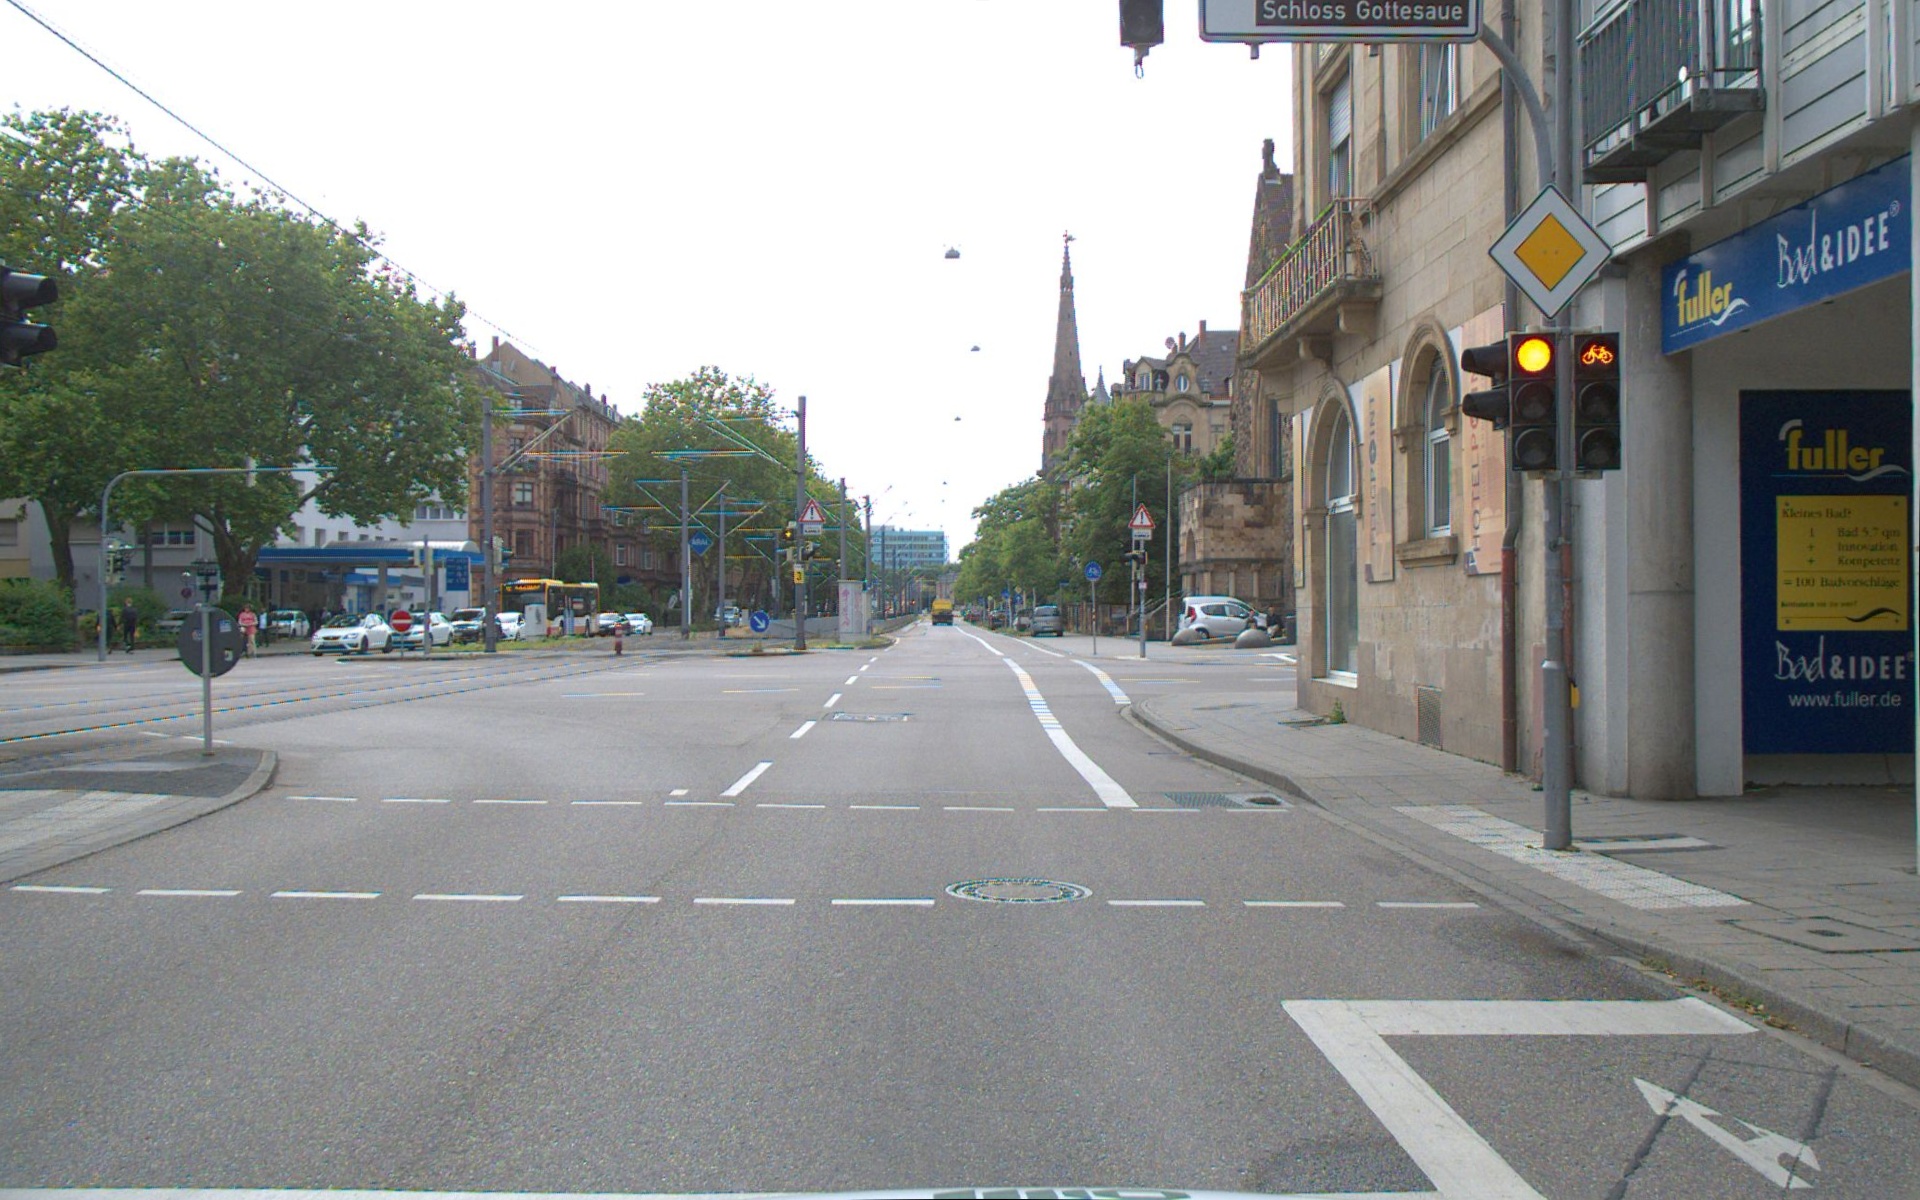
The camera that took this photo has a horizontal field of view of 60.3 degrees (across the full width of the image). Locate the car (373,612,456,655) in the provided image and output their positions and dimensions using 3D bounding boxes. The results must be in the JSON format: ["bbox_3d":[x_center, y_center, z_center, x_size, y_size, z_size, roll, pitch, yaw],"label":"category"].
[{"bbox_3d":[-21.424,1.296,65.131,1.953,1.622,3.999,1,0,-1],"label":"car"}]

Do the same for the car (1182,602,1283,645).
[{"bbox_3d":[10.673,0.926,65.035,3.638,1.591,2.000,1,0,-1],"label":"car"}]

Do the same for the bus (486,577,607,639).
[{"bbox_3d":[-21.969,0.427,88.757,3.164,3.088,12.312,1,0,1],"label":"bus"}]

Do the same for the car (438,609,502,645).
[{"bbox_3d":[-21.225,1.148,71.784,1.622,1.504,3.638,1,0,1],"label":"car"}]

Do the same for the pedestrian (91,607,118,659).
[{"bbox_3d":[-28.653,1.098,55.407,0.678,1.743,0.865,0,0,-20],"label":"pedestrian"}]

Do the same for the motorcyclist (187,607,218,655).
[{"bbox_3d":[-24.678,1.002,53.910,0.607,1.546,0.873,0,0,-1],"label":"motorcyclist"}]

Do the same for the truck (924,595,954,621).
[{"bbox_3d":[-2.298,0.887,184.769,2.992,2.817,9.816,0,0,1],"label":"truck"}]

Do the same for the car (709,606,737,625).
[{"bbox_3d":[-21.343,1.392,148.994,1.953,1.639,3.999,1,0,-1],"label":"car"}]

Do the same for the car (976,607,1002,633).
[{"bbox_3d":[2.374,1.632,136.005,1.953,2.049,3.999,1,0,-1],"label":"car"}]

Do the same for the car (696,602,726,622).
[{"bbox_3d":[-21.226,1.034,141.185,1.953,1.639,3.999,1,0,-1],"label":"car"}]

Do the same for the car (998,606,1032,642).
[{"bbox_3d":[3.284,1.423,99.555,1.952,2.049,4.000,1,0,1],"label":"car"}]

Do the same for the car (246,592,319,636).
[{"bbox_3d":[-32.893,0.664,80.418,1.953,2.049,3.999,0,0,-1],"label":"car"}]

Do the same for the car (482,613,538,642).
[{"bbox_3d":[-21.381,1.293,78.703,1.622,1.344,3.638,1,0,1],"label":"car"}]

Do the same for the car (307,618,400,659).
[{"bbox_3d":[-21.437,1.339,58.597,1.711,1.344,4.075,1,0,1],"label":"car"}]

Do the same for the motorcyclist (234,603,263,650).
[{"bbox_3d":[-23.660,0.866,55.010,0.607,1.546,0.873,0,0,-1],"label":"motorcyclist"}]

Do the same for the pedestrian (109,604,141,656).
[{"bbox_3d":[-28.148,1.002,55.768,0.860,1.743,0.869,0,0,-20],"label":"pedestrian"}]

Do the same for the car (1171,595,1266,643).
[{"bbox_3d":[10.690,0.795,68.561,3.638,1.888,2.000,1,0,-1],"label":"car"}]

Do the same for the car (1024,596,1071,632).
[{"bbox_3d":[4.813,0.773,90.051,1.951,1.888,4.030,1,0,12],"label":"car"}]

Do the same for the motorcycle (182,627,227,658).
[{"bbox_3d":[-24.680,1.378,54.080,0.594,0.945,1.951,0,0,0],"label":"motorcycle"}]

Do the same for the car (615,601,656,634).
[{"bbox_3d":[-21.413,1.143,109.262,1.953,2.049,3.999,1,0,-1],"label":"car"}]

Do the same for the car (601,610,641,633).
[{"bbox_3d":[-20.862,1.315,101.880,1.622,1.344,3.638,1,0,1],"label":"car"}]

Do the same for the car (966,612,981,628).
[{"bbox_3d":[1.761,2.668,216.827,1.953,2.049,3.999,1,0,-1],"label":"car"}]

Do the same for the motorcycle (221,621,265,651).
[{"bbox_3d":[-23.691,1.176,54.675,0.594,0.945,1.951,0,0,0],"label":"motorcycle"}]
